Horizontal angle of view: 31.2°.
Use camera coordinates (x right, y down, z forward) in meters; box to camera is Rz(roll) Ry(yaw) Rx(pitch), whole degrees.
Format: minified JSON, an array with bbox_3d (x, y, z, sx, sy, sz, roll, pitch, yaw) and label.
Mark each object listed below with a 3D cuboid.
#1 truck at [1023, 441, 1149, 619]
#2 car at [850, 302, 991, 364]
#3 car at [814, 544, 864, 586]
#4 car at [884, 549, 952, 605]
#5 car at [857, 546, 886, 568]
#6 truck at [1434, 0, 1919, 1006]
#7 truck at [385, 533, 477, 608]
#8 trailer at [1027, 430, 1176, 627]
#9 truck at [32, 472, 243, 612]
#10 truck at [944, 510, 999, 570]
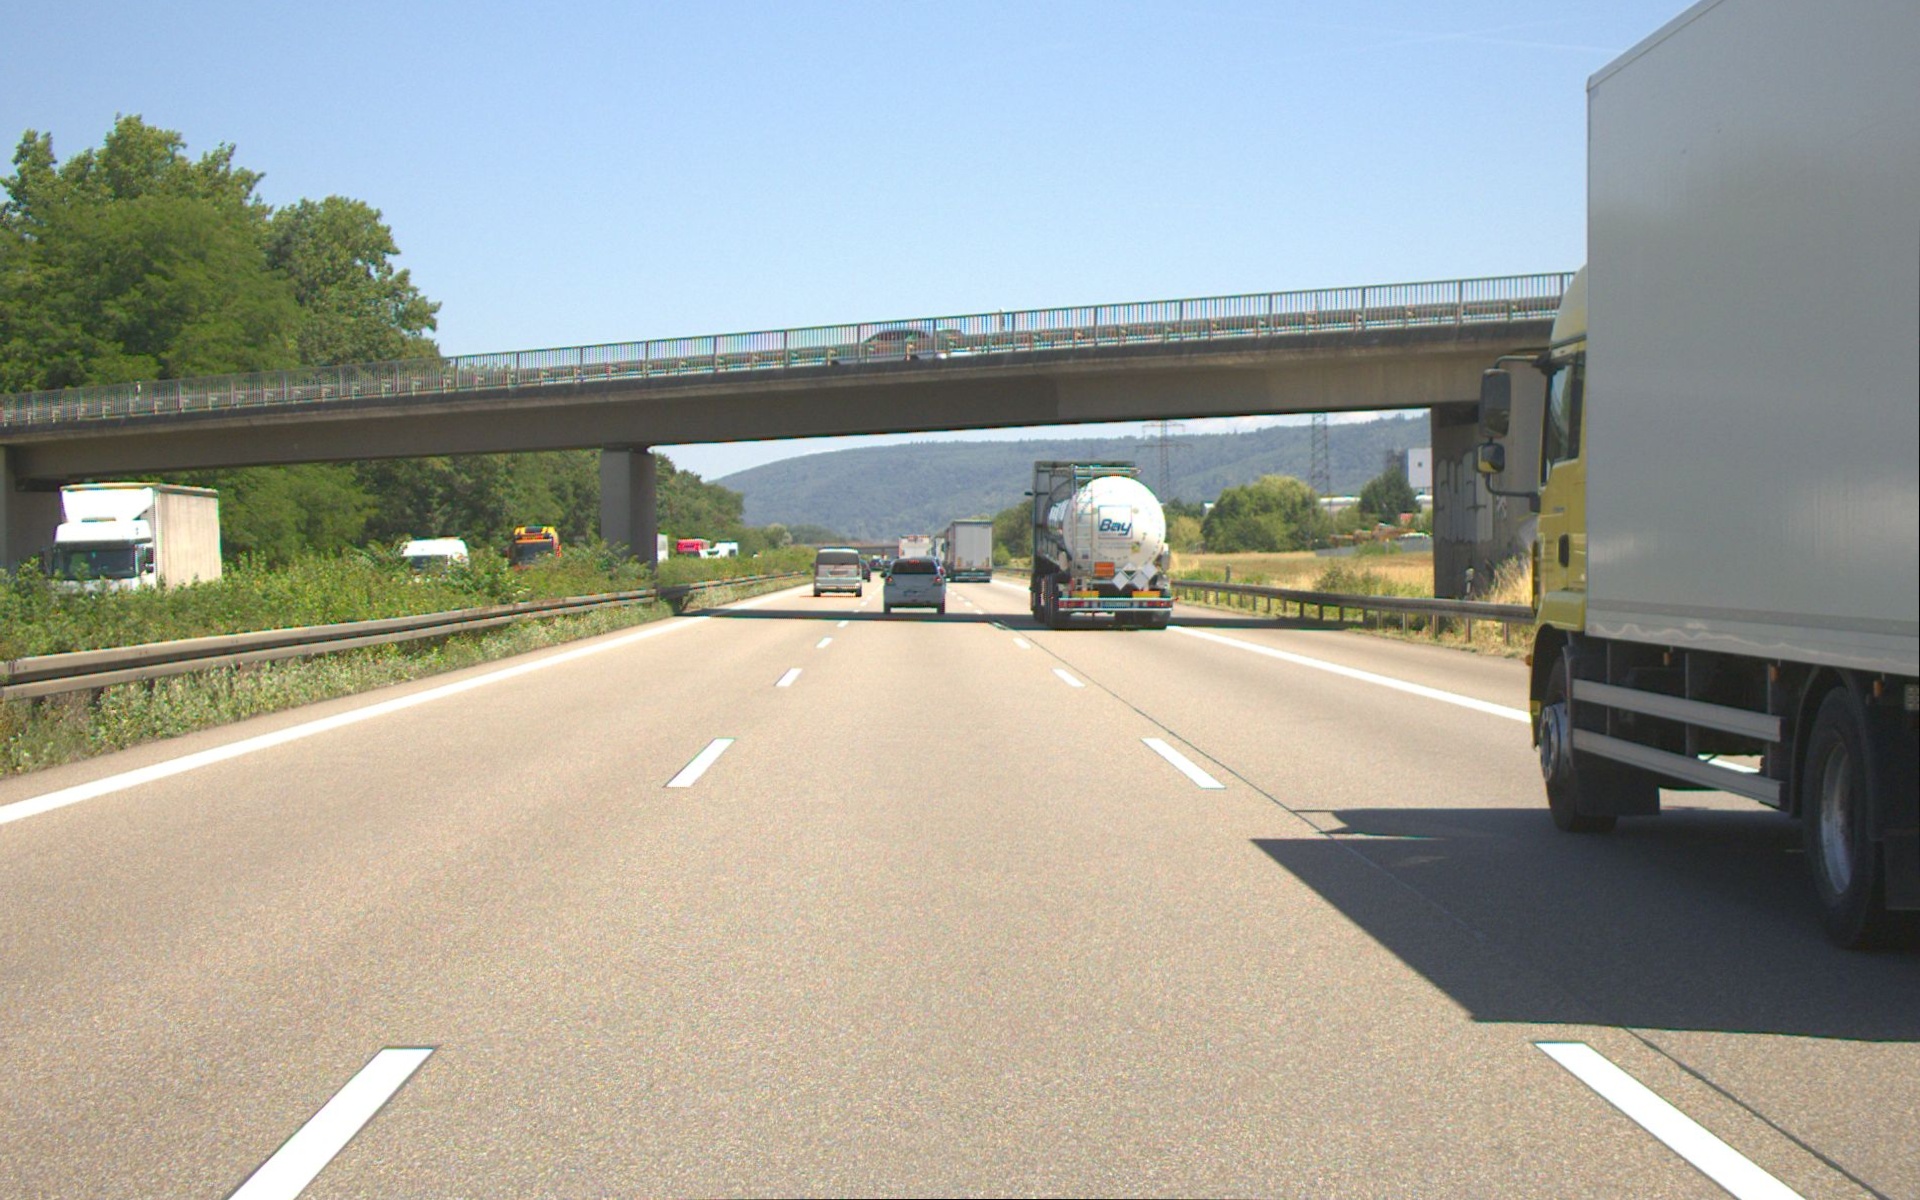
[{"bbox_3d":[2.953,-1.663,82.391,2.573,4.058,6.393,1,1,-1],"label":"truck"},{"bbox_3d":[-1.101,-7.199,92.937,1.634,1.463,3.999,0,1,-40],"label":"car"},{"bbox_3d":[-4.769,-1.390,136.202,1.852,1.627,4.000,1,1,-1],"label":"car"},{"bbox_3d":[-1.142,-0.655,94.462,1.806,1.463,4.000,1,1,-1],"label":"car"},{"bbox_3d":[-5.874,-2.843,227.968,1.835,1.382,4.000,1,1,-1],"label":"car"},{"bbox_3d":[4.491,-0.840,15.636,2.933,4.185,10.682,1,1,-1],"label":"truck"},{"bbox_3d":[-17.611,-0.994,114.685,1.993,2.390,6.419,1,1,0],"label":"truck"},{"bbox_3d":[3.058,-1.585,77.251,2.580,4.060,11.104,1,1,-1],"label":"trailer"},{"bbox_3d":[-21.811,-1.542,91.832,2.877,3.486,10.735,1,1,1],"label":"truck"},{"bbox_3d":[0.727,-3.958,227.490,3.265,3.844,11.632,1,1,-1],"label":"truck"}]
